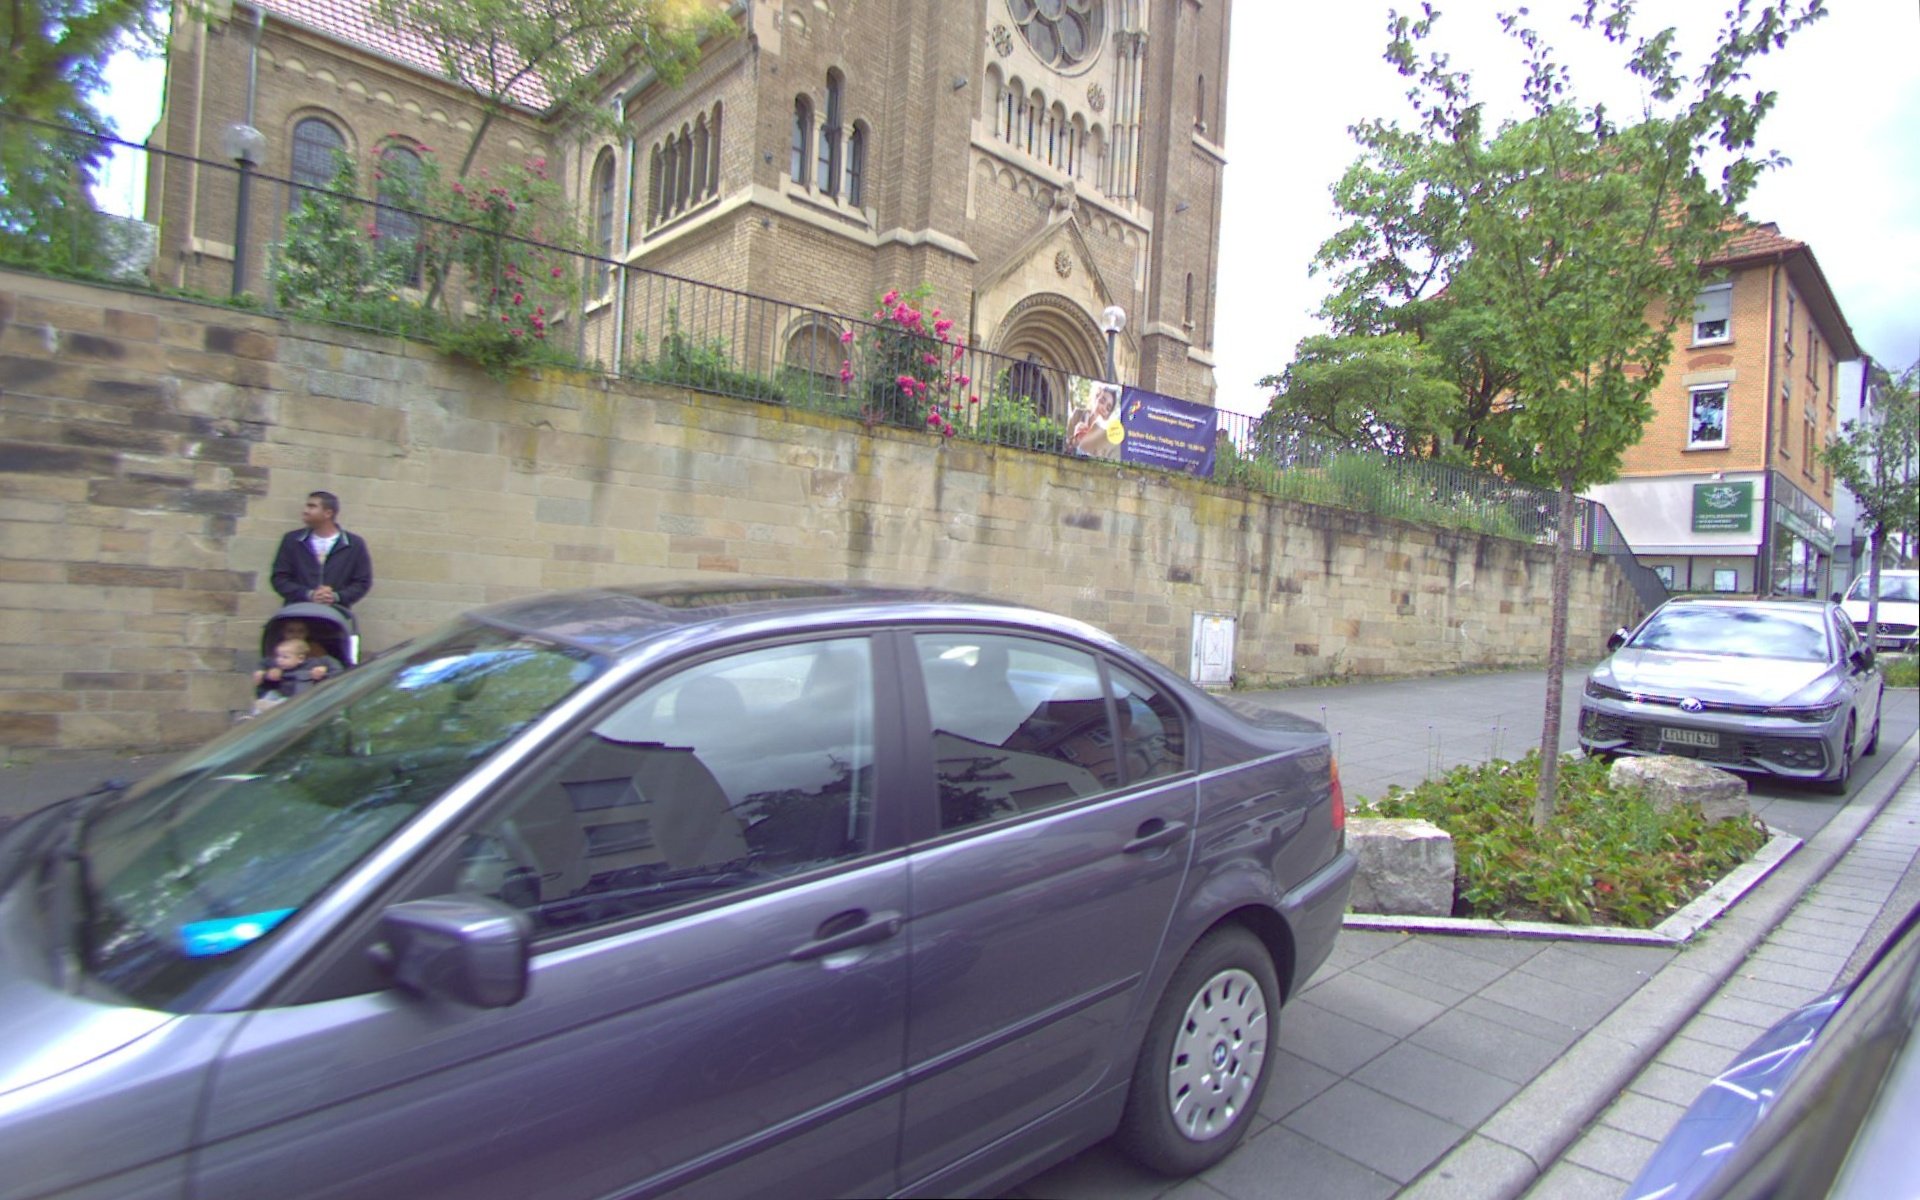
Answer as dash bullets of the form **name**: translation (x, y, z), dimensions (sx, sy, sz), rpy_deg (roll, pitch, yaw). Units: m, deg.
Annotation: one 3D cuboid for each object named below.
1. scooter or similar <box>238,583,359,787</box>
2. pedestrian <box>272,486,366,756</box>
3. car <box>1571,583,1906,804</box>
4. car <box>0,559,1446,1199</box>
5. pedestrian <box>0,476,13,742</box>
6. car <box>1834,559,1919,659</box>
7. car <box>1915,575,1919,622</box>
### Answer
- **scooter or similar**: translation (-3.876, 0.456, 5.976), dimensions (0.549, 1.085, 0.816), rpy_deg (0, 2, -30)
- **pedestrian**: translation (-4.149, 0.123, 6.572), dimensions (0.496, 1.666, 0.475), rpy_deg (0, 2, -30)
- **car**: translation (7.066, 0.613, 9.029), dimensions (4.022, 1.458, 1.757), rpy_deg (-1, 3, -44)
- **car**: translation (-0.694, 0.630, 2.384), dimensions (4.294, 1.434, 1.685), rpy_deg (-1, 3, -40)
- **pedestrian**: translation (-6.222, 0.058, 6.211), dimensions (0.496, 1.666, 0.475), rpy_deg (0, 2, -30)
- **car**: translation (19.881, 0.142, 20.791), dimensions (4.938, 1.870, 1.891), rpy_deg (-1, 3, -37)
- **car**: translation (32.216, -0.008, 32.591), dimensions (3.880, 1.465, 1.814), rpy_deg (-1, 5, -43)
